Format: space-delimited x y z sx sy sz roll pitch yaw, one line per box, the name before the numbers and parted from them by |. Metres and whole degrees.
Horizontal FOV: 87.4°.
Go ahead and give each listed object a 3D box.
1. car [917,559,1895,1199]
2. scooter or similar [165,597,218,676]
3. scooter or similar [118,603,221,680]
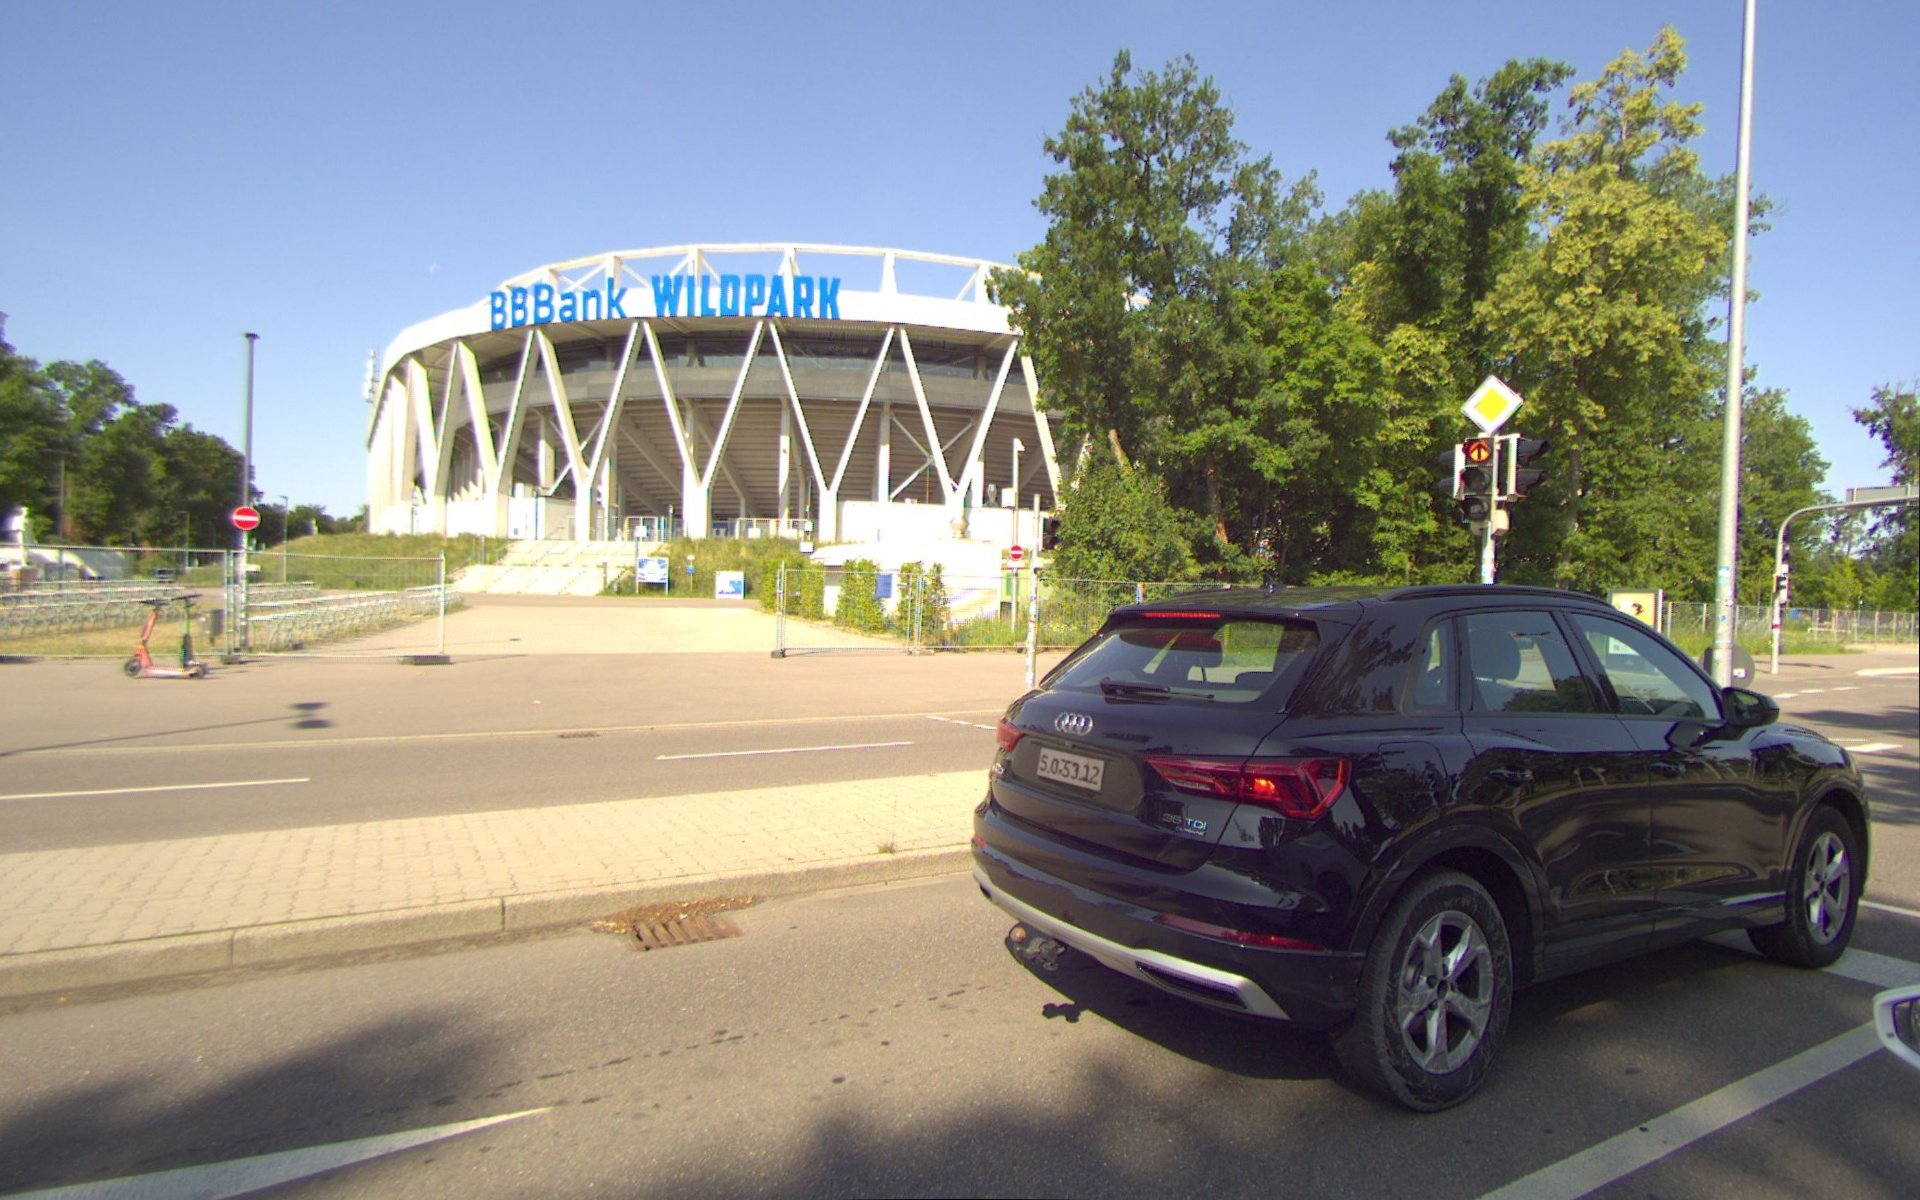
car | 2.023 0.723 4.210 4.100 1.565 1.680 1 -1 -30
scooter or similar | -12.599 0.583 16.463 1.064 1.238 0.395 2 1 36
scooter or similar | -12.319 0.646 15.676 1.180 1.161 0.393 1 1 -25
